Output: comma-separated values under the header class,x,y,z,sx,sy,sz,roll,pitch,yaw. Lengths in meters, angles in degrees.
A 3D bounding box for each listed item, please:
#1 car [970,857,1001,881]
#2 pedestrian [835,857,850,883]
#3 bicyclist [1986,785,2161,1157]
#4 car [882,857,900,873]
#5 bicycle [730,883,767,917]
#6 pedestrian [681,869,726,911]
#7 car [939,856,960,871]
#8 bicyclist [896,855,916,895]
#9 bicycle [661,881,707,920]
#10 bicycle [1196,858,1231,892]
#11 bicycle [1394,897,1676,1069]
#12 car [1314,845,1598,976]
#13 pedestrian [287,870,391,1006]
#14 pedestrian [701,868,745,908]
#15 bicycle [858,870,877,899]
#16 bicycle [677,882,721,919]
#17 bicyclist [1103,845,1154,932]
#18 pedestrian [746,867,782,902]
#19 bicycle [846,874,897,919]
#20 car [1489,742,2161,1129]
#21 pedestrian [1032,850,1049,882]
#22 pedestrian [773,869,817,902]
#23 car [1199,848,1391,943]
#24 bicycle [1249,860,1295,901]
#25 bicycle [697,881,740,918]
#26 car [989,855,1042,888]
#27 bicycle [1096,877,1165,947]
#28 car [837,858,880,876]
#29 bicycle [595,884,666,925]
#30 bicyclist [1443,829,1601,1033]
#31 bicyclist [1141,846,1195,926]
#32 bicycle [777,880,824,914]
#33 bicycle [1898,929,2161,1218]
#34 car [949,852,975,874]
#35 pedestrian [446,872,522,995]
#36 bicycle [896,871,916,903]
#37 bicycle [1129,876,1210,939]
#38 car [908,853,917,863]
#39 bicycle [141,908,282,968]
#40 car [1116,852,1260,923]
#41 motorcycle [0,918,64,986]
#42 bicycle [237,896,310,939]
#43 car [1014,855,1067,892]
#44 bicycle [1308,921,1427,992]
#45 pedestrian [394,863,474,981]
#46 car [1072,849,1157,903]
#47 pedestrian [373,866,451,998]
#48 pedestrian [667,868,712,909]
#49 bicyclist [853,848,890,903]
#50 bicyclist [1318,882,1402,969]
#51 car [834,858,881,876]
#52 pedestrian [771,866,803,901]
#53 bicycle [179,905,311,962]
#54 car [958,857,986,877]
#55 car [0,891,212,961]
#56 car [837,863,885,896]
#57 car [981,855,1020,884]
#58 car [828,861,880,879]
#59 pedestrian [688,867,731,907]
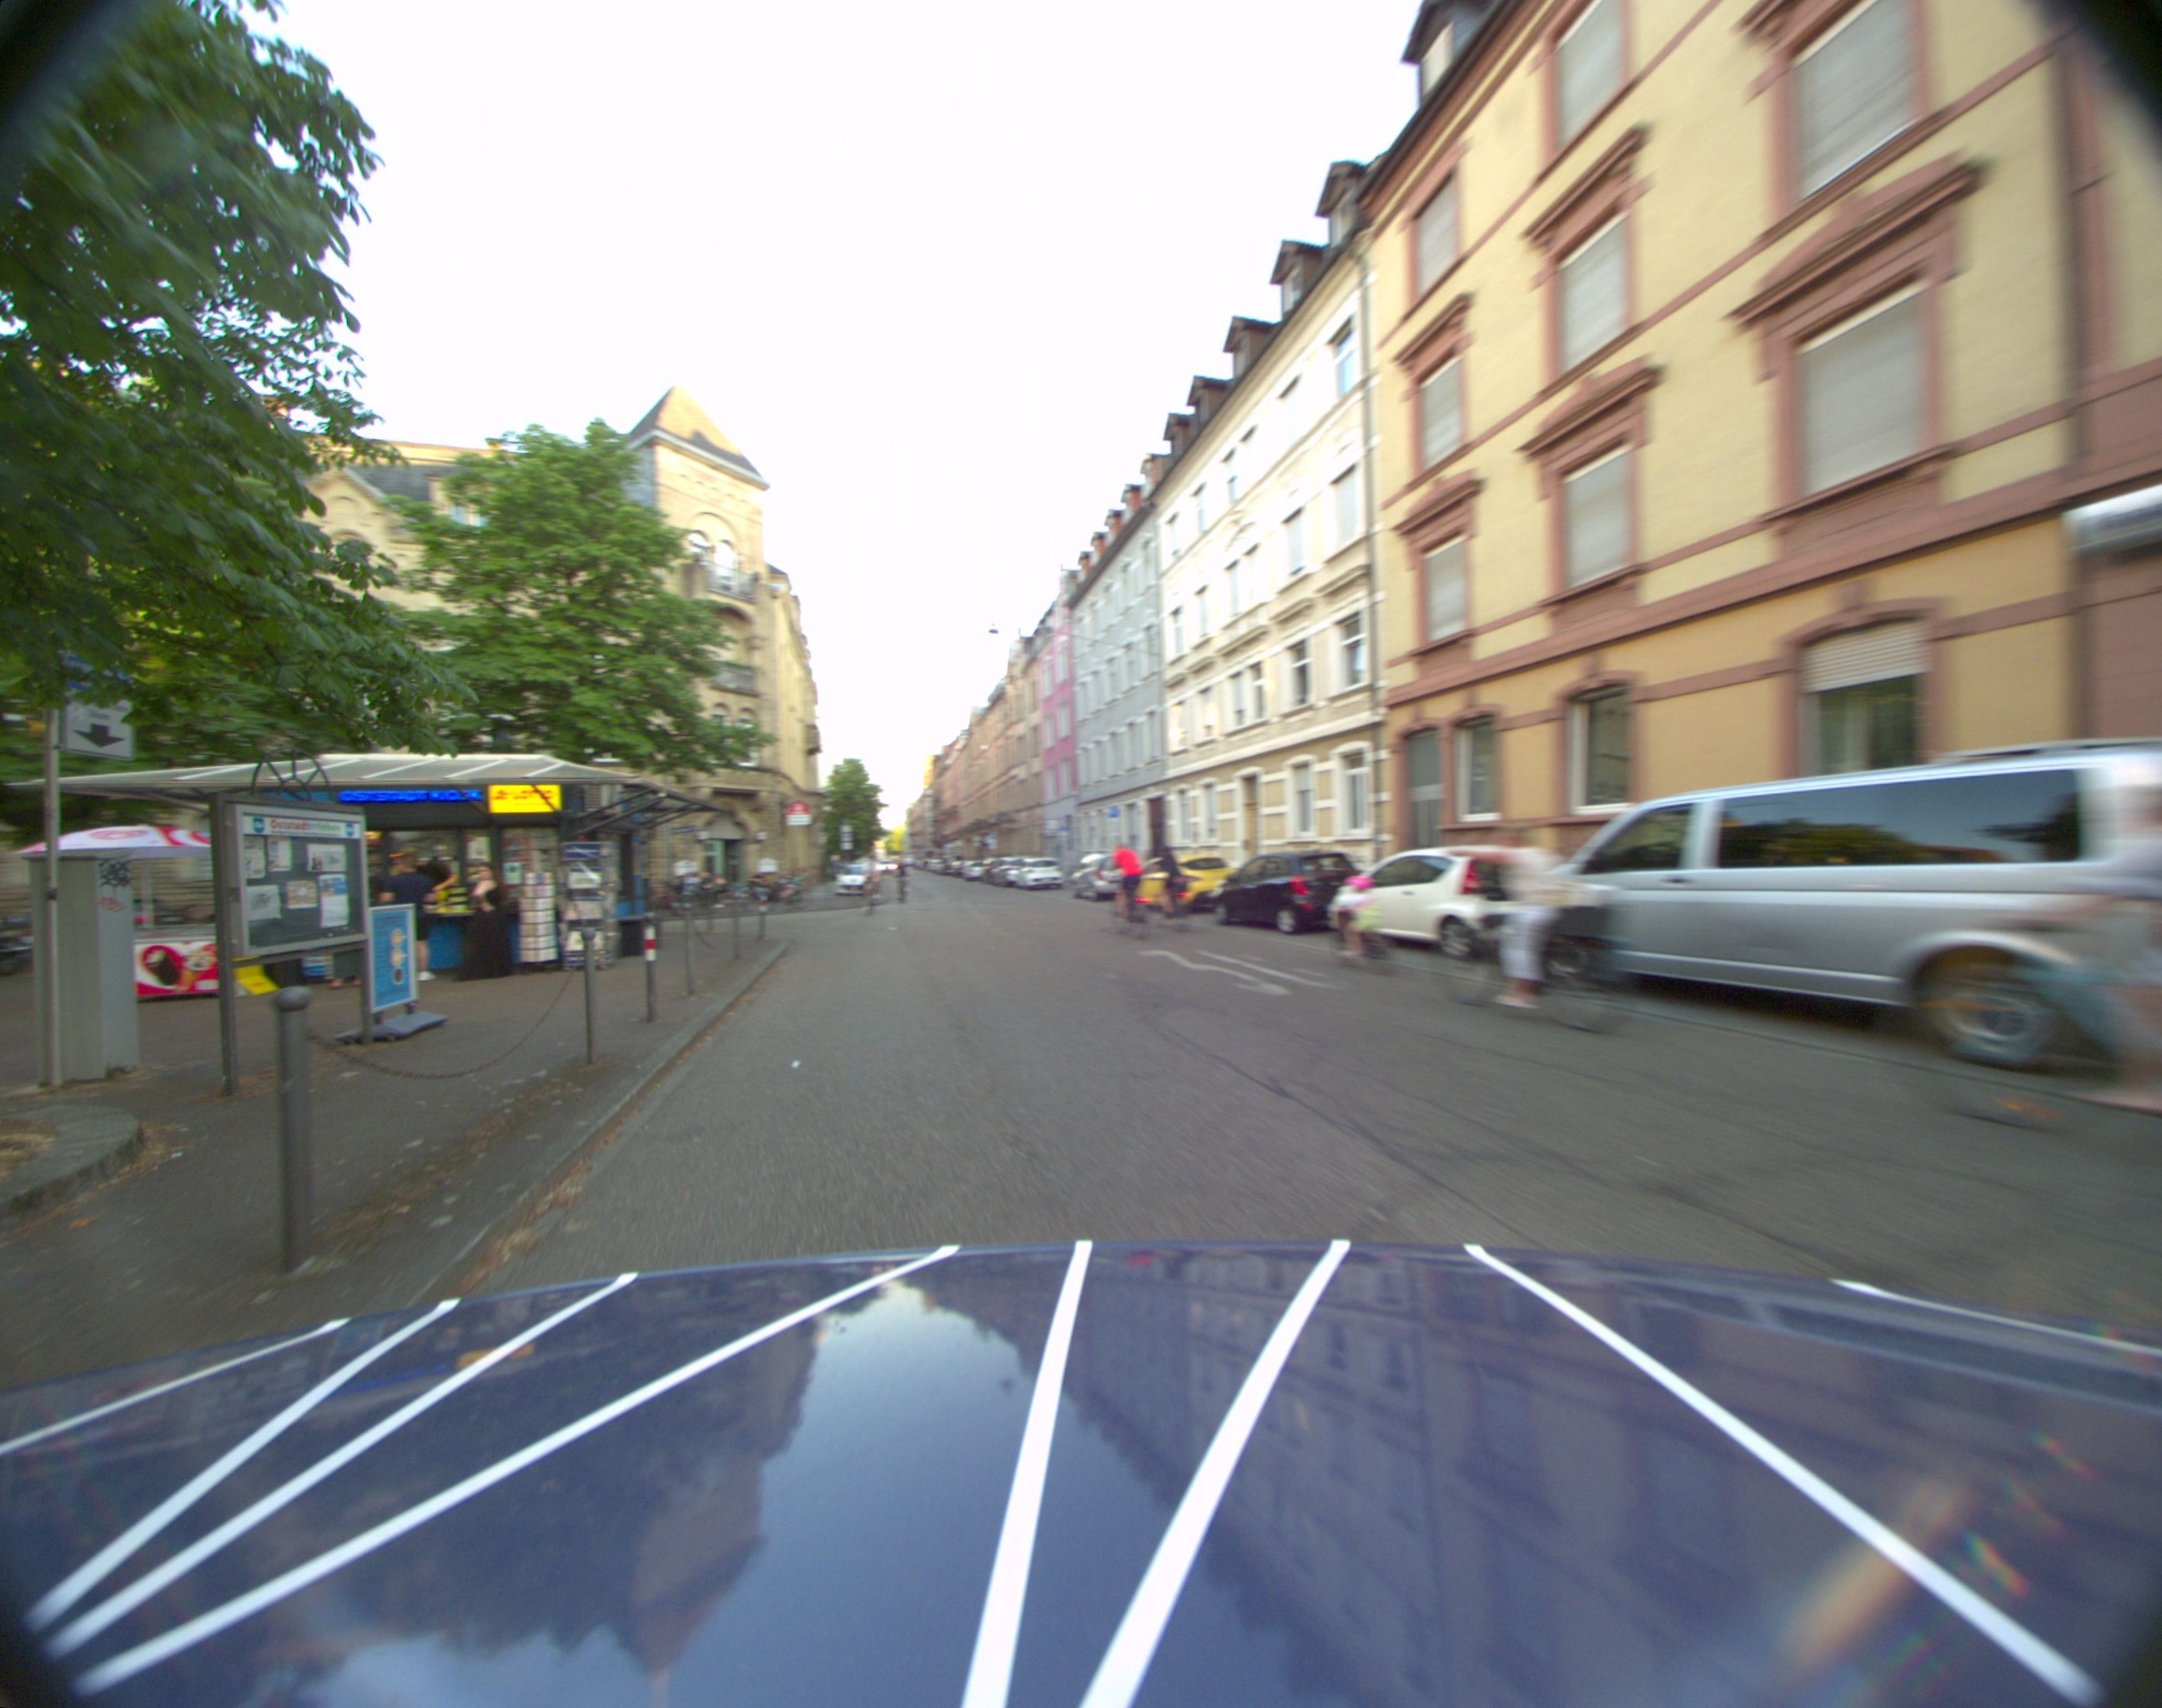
class,x,y,z,sx,sy,sz,roll,pitch,yaw
car,-7.168,1.088,56.780,1.759,1.467,4.052,-8,1,-13
pedestrian,-16.358,1.077,52.145,0.852,1.756,0.833,-1,0,-11
bicyclist,4.762,0.476,3.292,0.679,1.536,0.874,-2,1,-16
car,-22.896,1.268,91.651,1.959,1.729,4.279,-4,1,-15
bicycle,-10.847,1.491,24.809,0.447,0.974,1.705,-2,0,-1
pedestrian,-13.489,1.272,27.165,0.839,1.389,1.105,0,2,27
car,-15.097,1.086,87.111,1.759,1.467,4.051,-8,2,-17
bicyclist,-6.750,0.797,29.303,0.686,1.503,0.972,-2,1,-12
bicycle,-12.743,1.467,24.439,0.503,1.105,1.834,-2,0,-1
bicycle,4.569,0.707,26.283,0.481,1.133,1.861,-2,0,-13
bicycle,3.715,0.974,6.476,0.730,1.088,2.044,-2,1,-20
car,5.216,0.693,11.133,1.690,1.483,3.608,-4,1,-16
pedestrian,-9.382,1.028,9.634,0.679,1.628,0.590,-2,1,-16
pedestrian,-13.164,1.238,27.963,0.839,1.389,1.105,0,2,26
bicycle,-9.099,1.293,32.486,0.687,1.144,2.113,1,-1,-13
bicycle,-12.210,1.475,24.327,0.476,1.064,1.834,-2,0,-1
bicyclist,0.862,0.600,13.877,0.654,1.517,0.866,-2,1,-14
pedestrian,-12.538,1.200,30.033,1.009,1.388,0.899,-2,-1,33
bicycle,-5.938,1.189,21.643,0.686,1.145,2.115,-2,0,4
car,6.177,0.380,6.276,2.048,2.045,4.998,-4,1,-14
pedestrian,-2.503,0.724,47.142,0.852,1.937,0.833,-2,1,-11
pedestrian,-11.480,1.252,30.501,0.839,1.278,1.422,0,1,33
car,3.954,0.702,14.713,1.735,1.483,3.736,-4,1,-18
bicycle,5.578,0.744,22.271,0.481,1.133,1.861,-2,0,-13
bicycle,-11.730,1.452,24.653,0.513,1.060,1.834,-2,0,-1
car,-3.655,0.912,41.540,1.839,1.583,4.666,-4,1,-17
bicycle,0.866,1.022,13.937,0.652,1.101,2.012,-2,1,-14
car,-23.927,1.382,81.817,4.306,1.666,1.821,-2,0,-15
bicycle,-13.823,1.536,23.369,1.837,1.144,0.557,-2,1,-28
bicyclist,3.712,0.601,6.448,0.727,1.574,0.873,-2,1,-20
bicyclist,1.728,0.616,15.184,0.716,1.517,0.865,-2,1,-21
bicycle,-9.503,1.442,25.742,0.431,1.033,1.478,-1,1,35
bicycle,4.816,0.956,3.163,0.686,1.088,1.806,-2,1,-16
car,-11.779,0.880,74.811,1.876,1.949,4.287,-5,1,-16
pedestrian,-7.929,1.022,10.090,0.679,1.530,0.589,-3,1,-45
bicycle,-6.719,1.238,29.218,0.686,1.145,2.113,-2,0,-12
bicycle,1.727,1.022,15.214,0.724,1.101,2.011,-2,1,-21
car,-41.363,0.932,186.598,1.759,2.264,4.052,-8,2,-14
bicycle,-16.768,1.605,14.689,1.740,0.990,0.578,-2,1,-13
car,2.639,0.794,20.100,1.845,1.517,4.795,-4,1,-17
motorcycle,-18.261,1.646,12.511,1.833,1.048,0.578,-2,1,-13
bicycle,-23.178,1.807,21.851,0.591,1.071,1.832,-2,0,-18
car,-2.013,0.889,36.657,1.759,1.567,3.922,-4,1,-14
bicycle,3.448,1.211,9.283,0.652,0.639,1.462,-2,0,-13
pedestrian,-9.383,0.964,11.040,0.679,1.628,0.590,-2,1,-22
car,1.053,0.714,26.344,1.806,1.583,4.140,-4,1,-13
pedestrian,-8.756,0.989,9.944,0.679,1.628,0.589,-3,1,-45
pedestrian,-14.182,1.248,27.511,0.839,1.389,1.105,0,2,27
bicyclist,-5.959,0.592,21.661,0.686,1.503,0.973,-2,1,4
bicyclist,3.420,0.851,9.354,0.648,0.971,0.729,-2,1,-13
car,-21.818,1.244,74.382,4.306,1.520,1.821,-2,0,-15
pedestrian,-11.999,1.188,31.032,0.840,1.388,1.104,0,0,4
bicycle,-16.930,1.595,15.432,1.740,0.990,0.578,-2,1,-13
car,-9.456,1.124,65.549,1.759,1.467,4.274,-8,2,-15
car,-26.637,1.908,20.400,3.909,1.475,1.824,-3,1,-16
car,-10.634,1.185,36.958,1.769,1.475,4.459,1,-1,-10
car,-5.094,0.945,47.597,1.759,1.583,4.052,-4,1,-14
car,-20.373,1.395,68.360,4.306,1.443,1.821,-2,0,-15
pedestrian,-13.822,1.205,28.278,0.839,1.389,1.105,0,2,26
